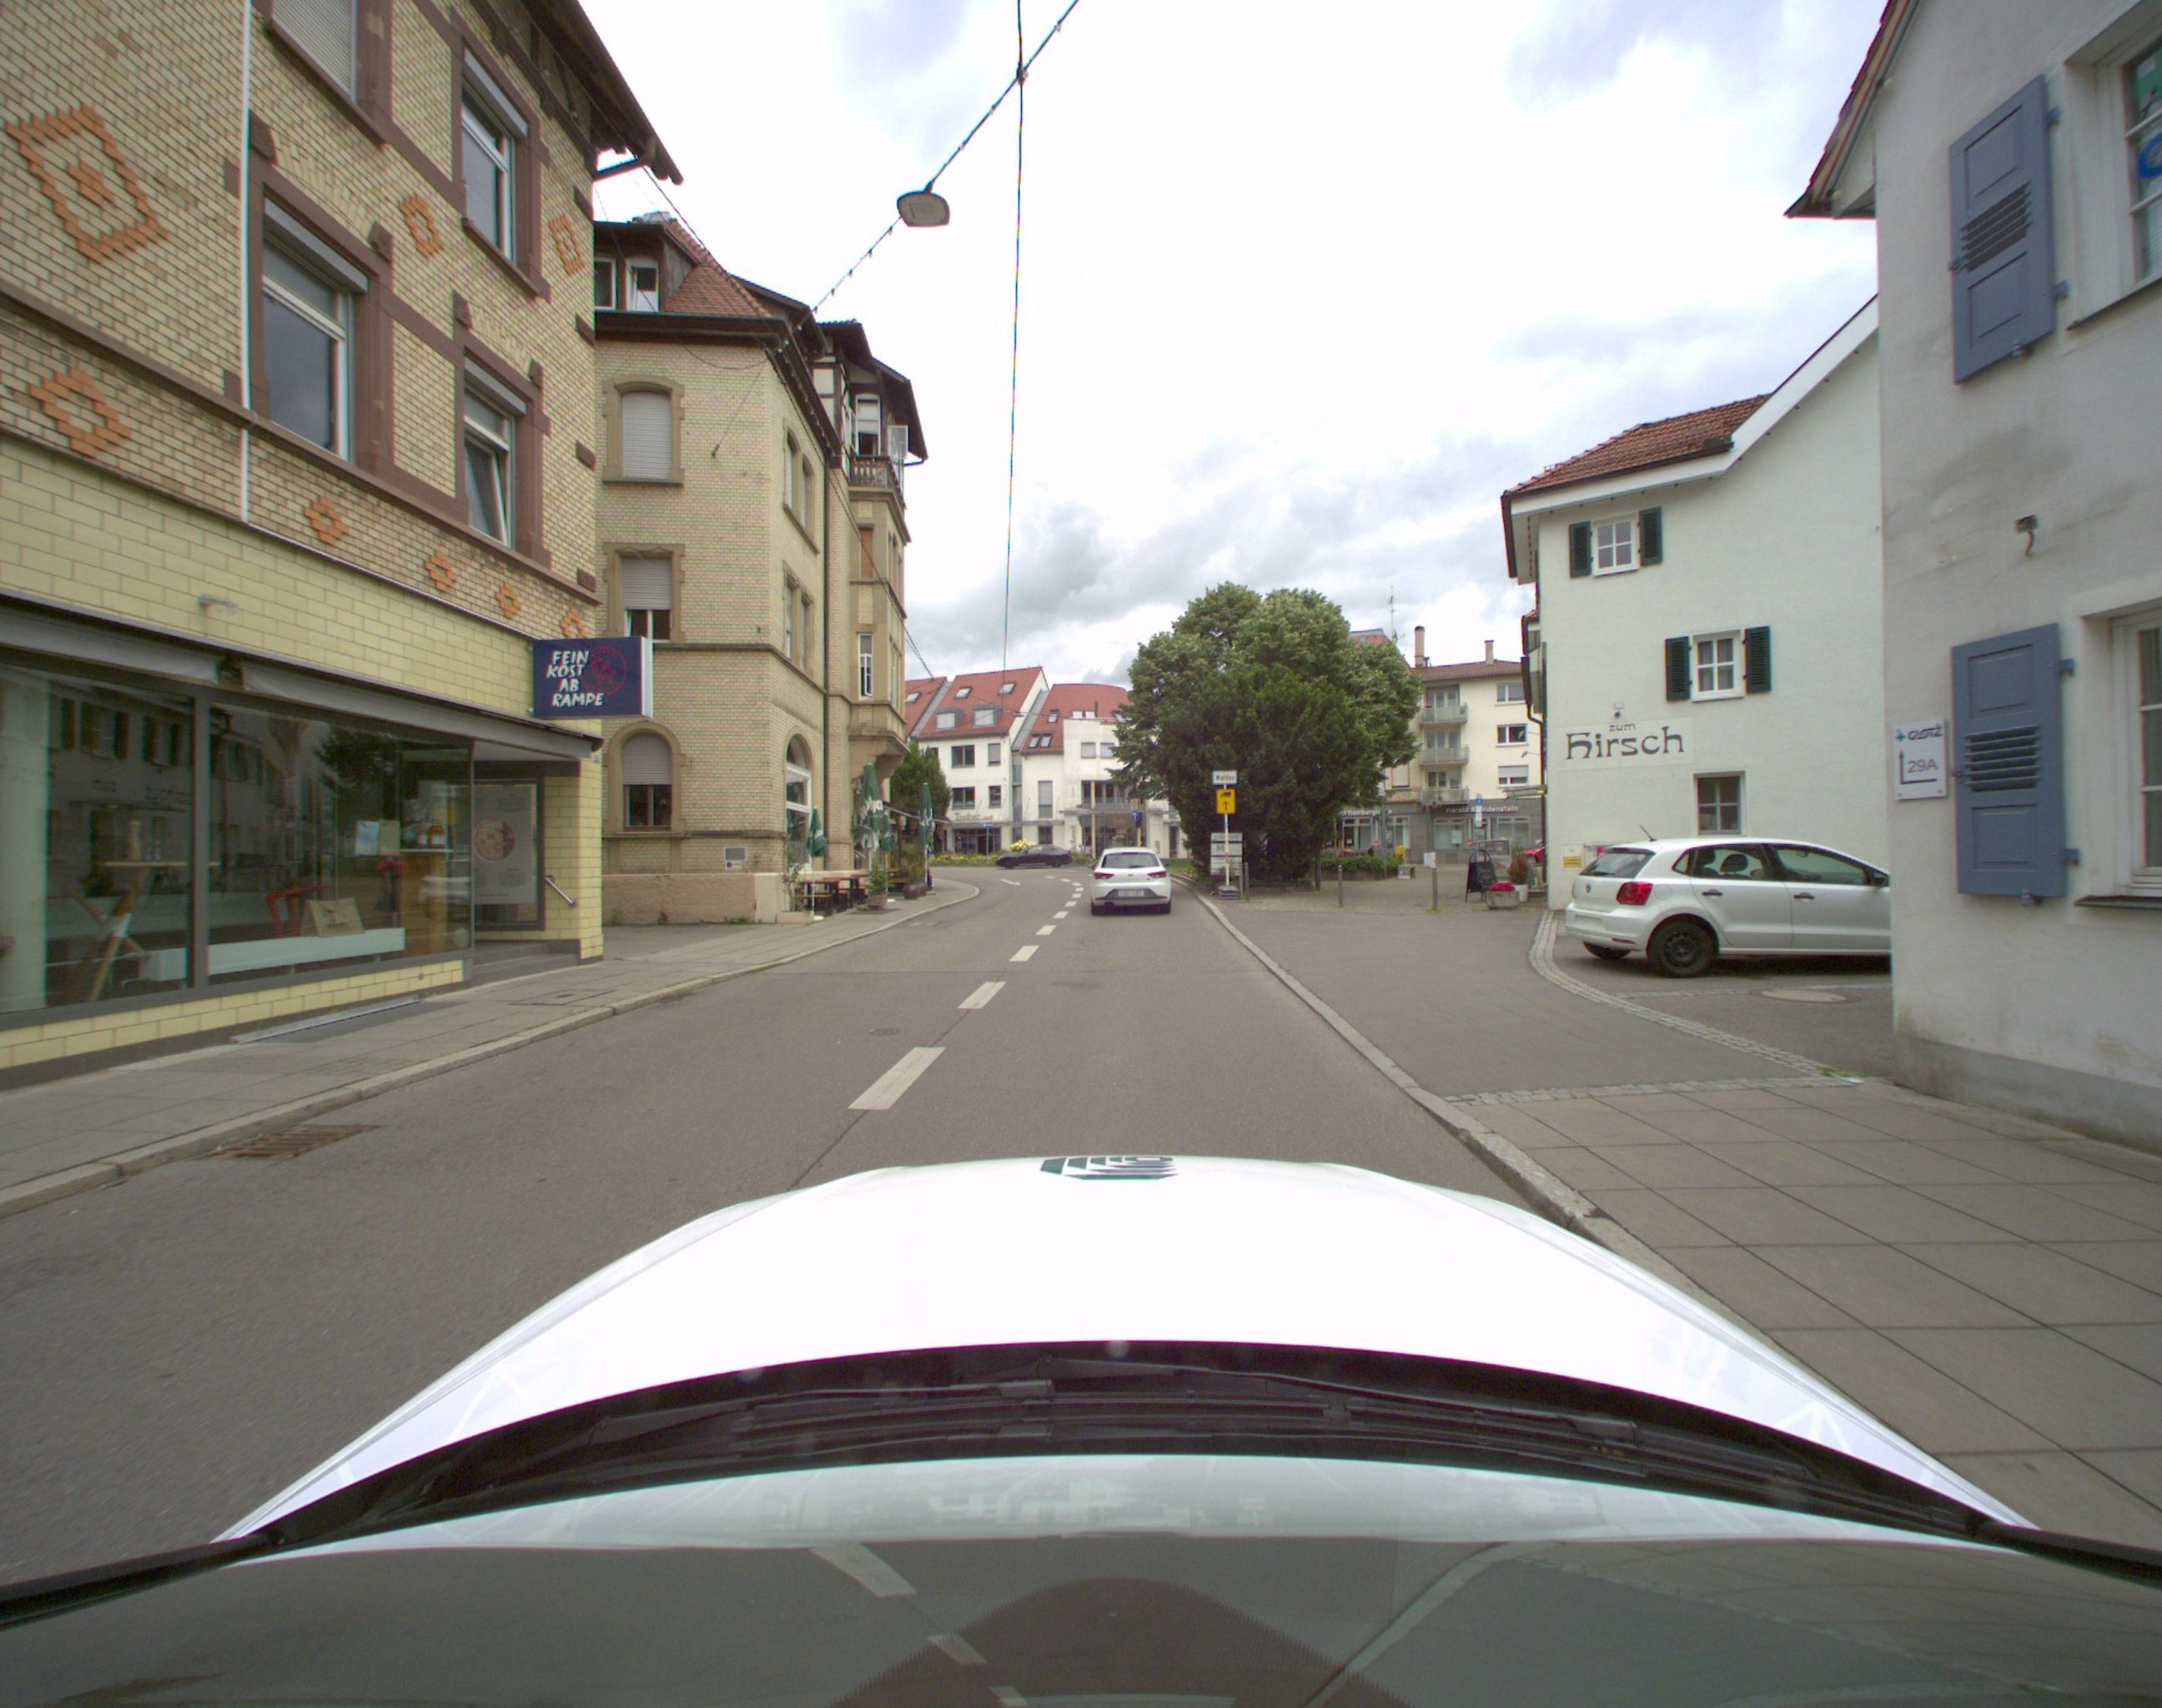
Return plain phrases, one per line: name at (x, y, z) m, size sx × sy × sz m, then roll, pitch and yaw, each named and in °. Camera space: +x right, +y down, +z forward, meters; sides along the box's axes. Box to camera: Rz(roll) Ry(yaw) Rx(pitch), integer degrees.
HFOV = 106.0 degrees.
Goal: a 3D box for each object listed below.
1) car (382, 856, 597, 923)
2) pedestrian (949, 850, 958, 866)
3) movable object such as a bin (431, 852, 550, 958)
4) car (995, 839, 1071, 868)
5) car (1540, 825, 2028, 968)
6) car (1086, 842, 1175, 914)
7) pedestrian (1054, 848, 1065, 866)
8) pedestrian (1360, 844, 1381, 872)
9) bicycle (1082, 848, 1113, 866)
car at (-13.339, 0.762, 18.743) m, size 1.987 × 1.369 × 4.000 m, roll 0°, pitch -1°, yaw 0°
pedestrian at (-9.847, 0.298, 62.937) m, size 0.486 × 1.271 × 0.504 m, roll -1°, pitch 0°, yaw 21°
movable object such as a bin at (-8.121, 0.694, 11.239) m, size 0.938 × 1.379 × 0.823 m, roll 2°, pitch -3°, yaw 2°
car at (-2.779, -0.057, 47.871) m, size 4.345 × 1.675 × 2.042 m, roll 0°, pitch 1°, yaw 0°
car at (7.629, 0.451, 9.267) m, size 3.769 × 1.418 × 1.903 m, roll -1°, pitch 0°, yaw 9°
car at (1.177, 0.469, 18.910) m, size 1.835 × 1.434 × 4.005 m, roll 0°, pitch 2°, yaw 4°
pedestrian at (-1.570, 0.217, 60.156) m, size 0.651 × 1.341 × 0.698 m, roll -1°, pitch 0°, yaw 8°
pedestrian at (14.585, 0.182, 41.023) m, size 0.850 × 1.380 × 0.977 m, roll 0°, pitch 0°, yaw 8°
bicycle at (1.139, 0.225, 56.023) m, size 1.957 × 1.240 × 0.748 m, roll 0°, pitch 0°, yaw 20°
